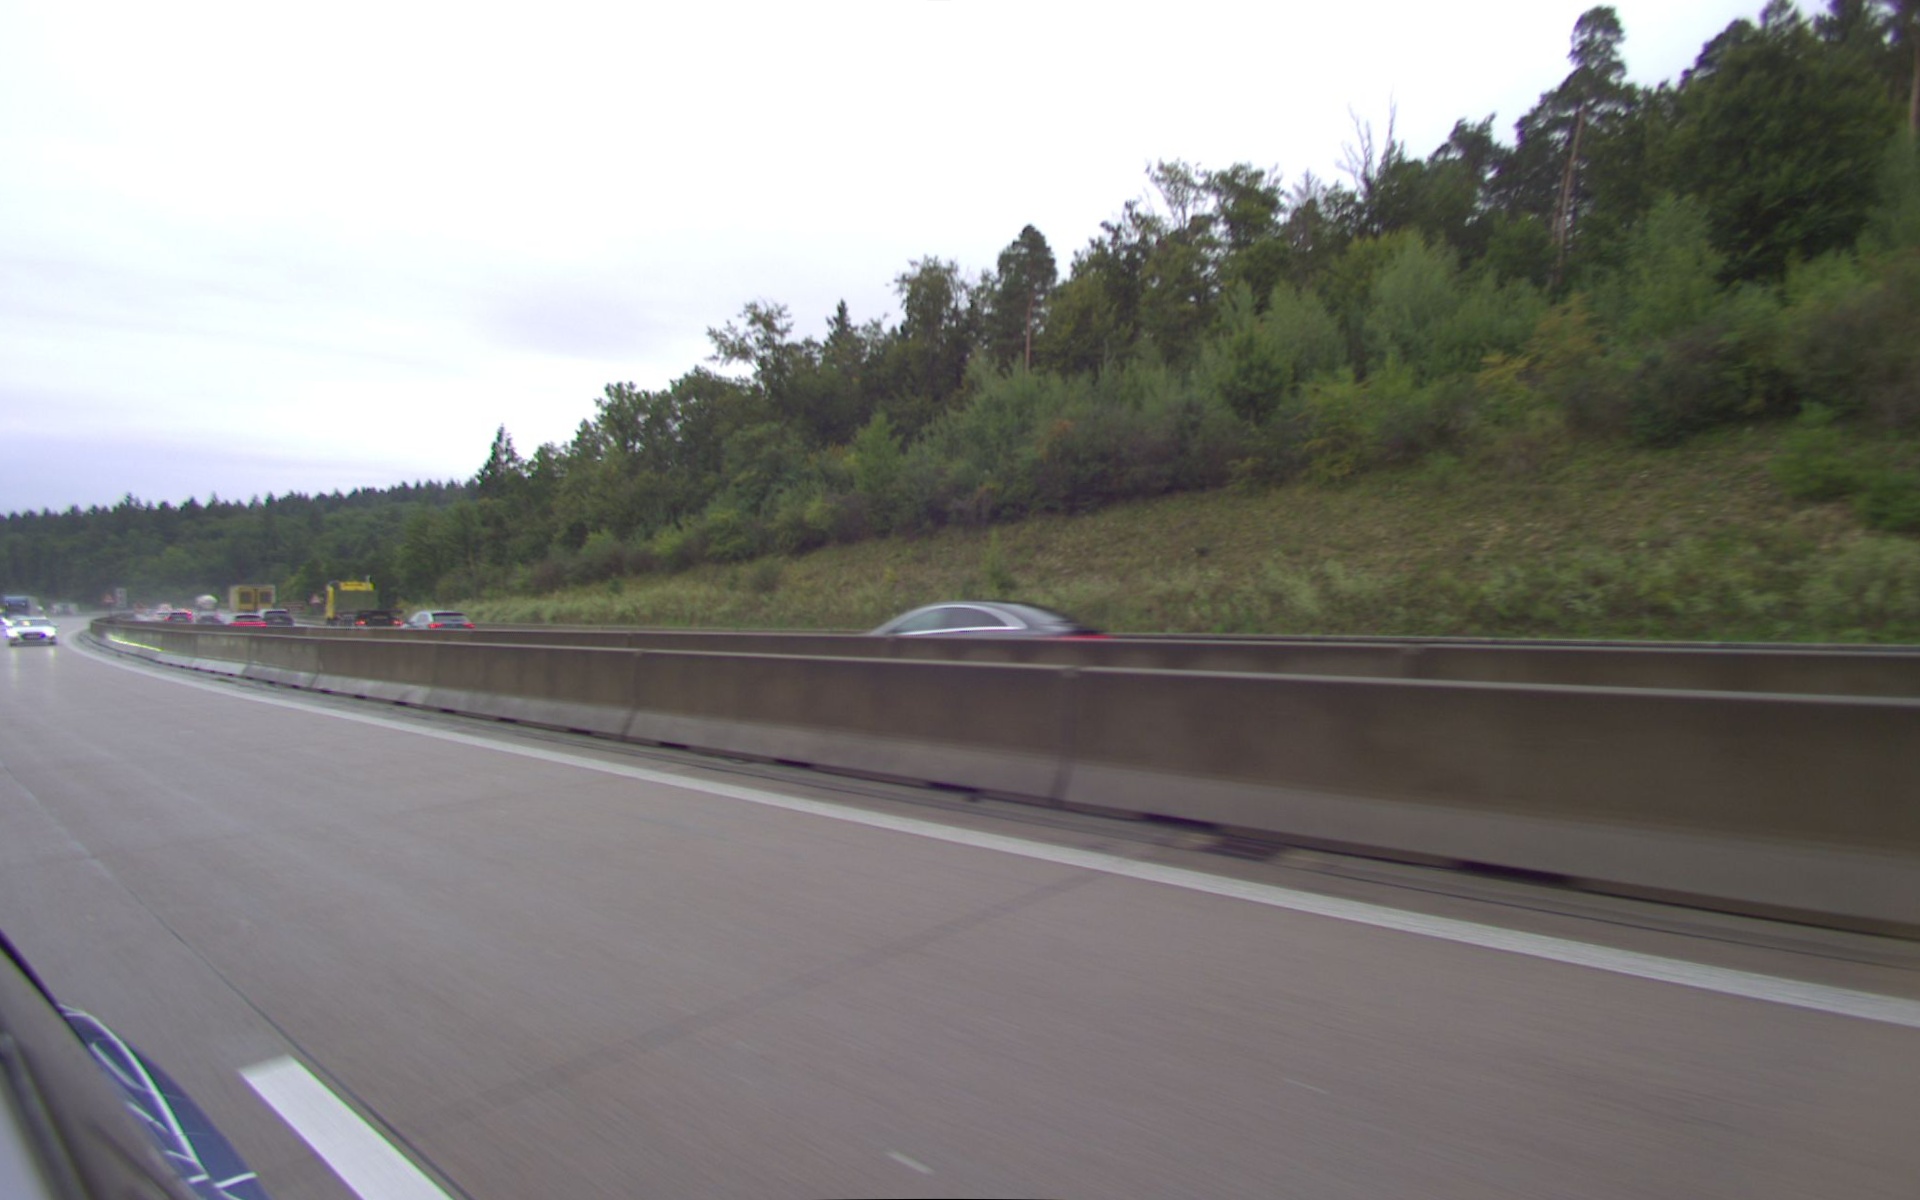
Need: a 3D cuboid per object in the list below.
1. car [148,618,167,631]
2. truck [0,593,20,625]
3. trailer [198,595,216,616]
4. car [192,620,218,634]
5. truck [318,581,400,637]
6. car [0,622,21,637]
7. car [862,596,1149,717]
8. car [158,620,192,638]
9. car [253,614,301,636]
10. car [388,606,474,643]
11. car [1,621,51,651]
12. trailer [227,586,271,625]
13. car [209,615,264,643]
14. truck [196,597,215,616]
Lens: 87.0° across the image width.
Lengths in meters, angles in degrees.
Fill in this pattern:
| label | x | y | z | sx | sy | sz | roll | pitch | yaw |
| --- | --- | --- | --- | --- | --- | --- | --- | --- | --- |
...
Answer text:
| label | x | y | z | sx | sy | sz | roll | pitch | yaw |
| --- | --- | --- | --- | --- | --- | --- | --- | --- | --- |
| car | -92.798 | 2.797 | 117.055 | 1.632 | 1.490 | 4.553 | -1 | 0 | -39 |
| truck | -131.833 | 1.276 | 139.790 | 2.699 | 4.183 | 8.627 | -1 | -1 | -44 |
| trailer | -142.469 | 1.067 | 191.465 | 2.513 | 3.694 | 8.246 | -1 | 0 | -38 |
| car | -72.128 | 2.581 | 96.706 | 1.633 | 1.207 | 4.551 | -1 | 0 | -41 |
| truck | -37.864 | 0.579 | 63.590 | 2.590 | 3.321 | 9.392 | 0 | -1 | -42 |
| car | -95.689 | 2.950 | 101.811 | 1.691 | 1.417 | 4.942 | -1 | 0 | -41 |
| car | 0.586 | 0.761 | 15.065 | 3.998 | 1.560 | 1.845 | -1 | -1 | 41 |
| car | -63.392 | 2.305 | 81.722 | 4.087 | 1.356 | 1.635 | -1 | 0 | 44 |
| car | -44.007 | 1.601 | 65.174 | 1.784 | 1.356 | 4.770 | -1 | 0 | -43 |
| car | -20.761 | 0.944 | 39.643 | 4.085 | 1.356 | 1.636 | -1 | 0 | 42 |
| car | -47.335 | 1.807 | 51.252 | 1.692 | 1.417 | 4.939 | -1 | -1 | -44 |
| trailer | -76.074 | 0.577 | 108.116 | 2.976 | 3.904 | 13.726 | -1 | 0 | -39 |
| car | -37.730 | 1.472 | 52.767 | 4.087 | 1.356 | 1.635 | -1 | 0 | 44 |
| truck | -147.480 | 1.297 | 197.716 | 2.531 | 3.694 | 10.510 | -1 | 0 | -39 |
